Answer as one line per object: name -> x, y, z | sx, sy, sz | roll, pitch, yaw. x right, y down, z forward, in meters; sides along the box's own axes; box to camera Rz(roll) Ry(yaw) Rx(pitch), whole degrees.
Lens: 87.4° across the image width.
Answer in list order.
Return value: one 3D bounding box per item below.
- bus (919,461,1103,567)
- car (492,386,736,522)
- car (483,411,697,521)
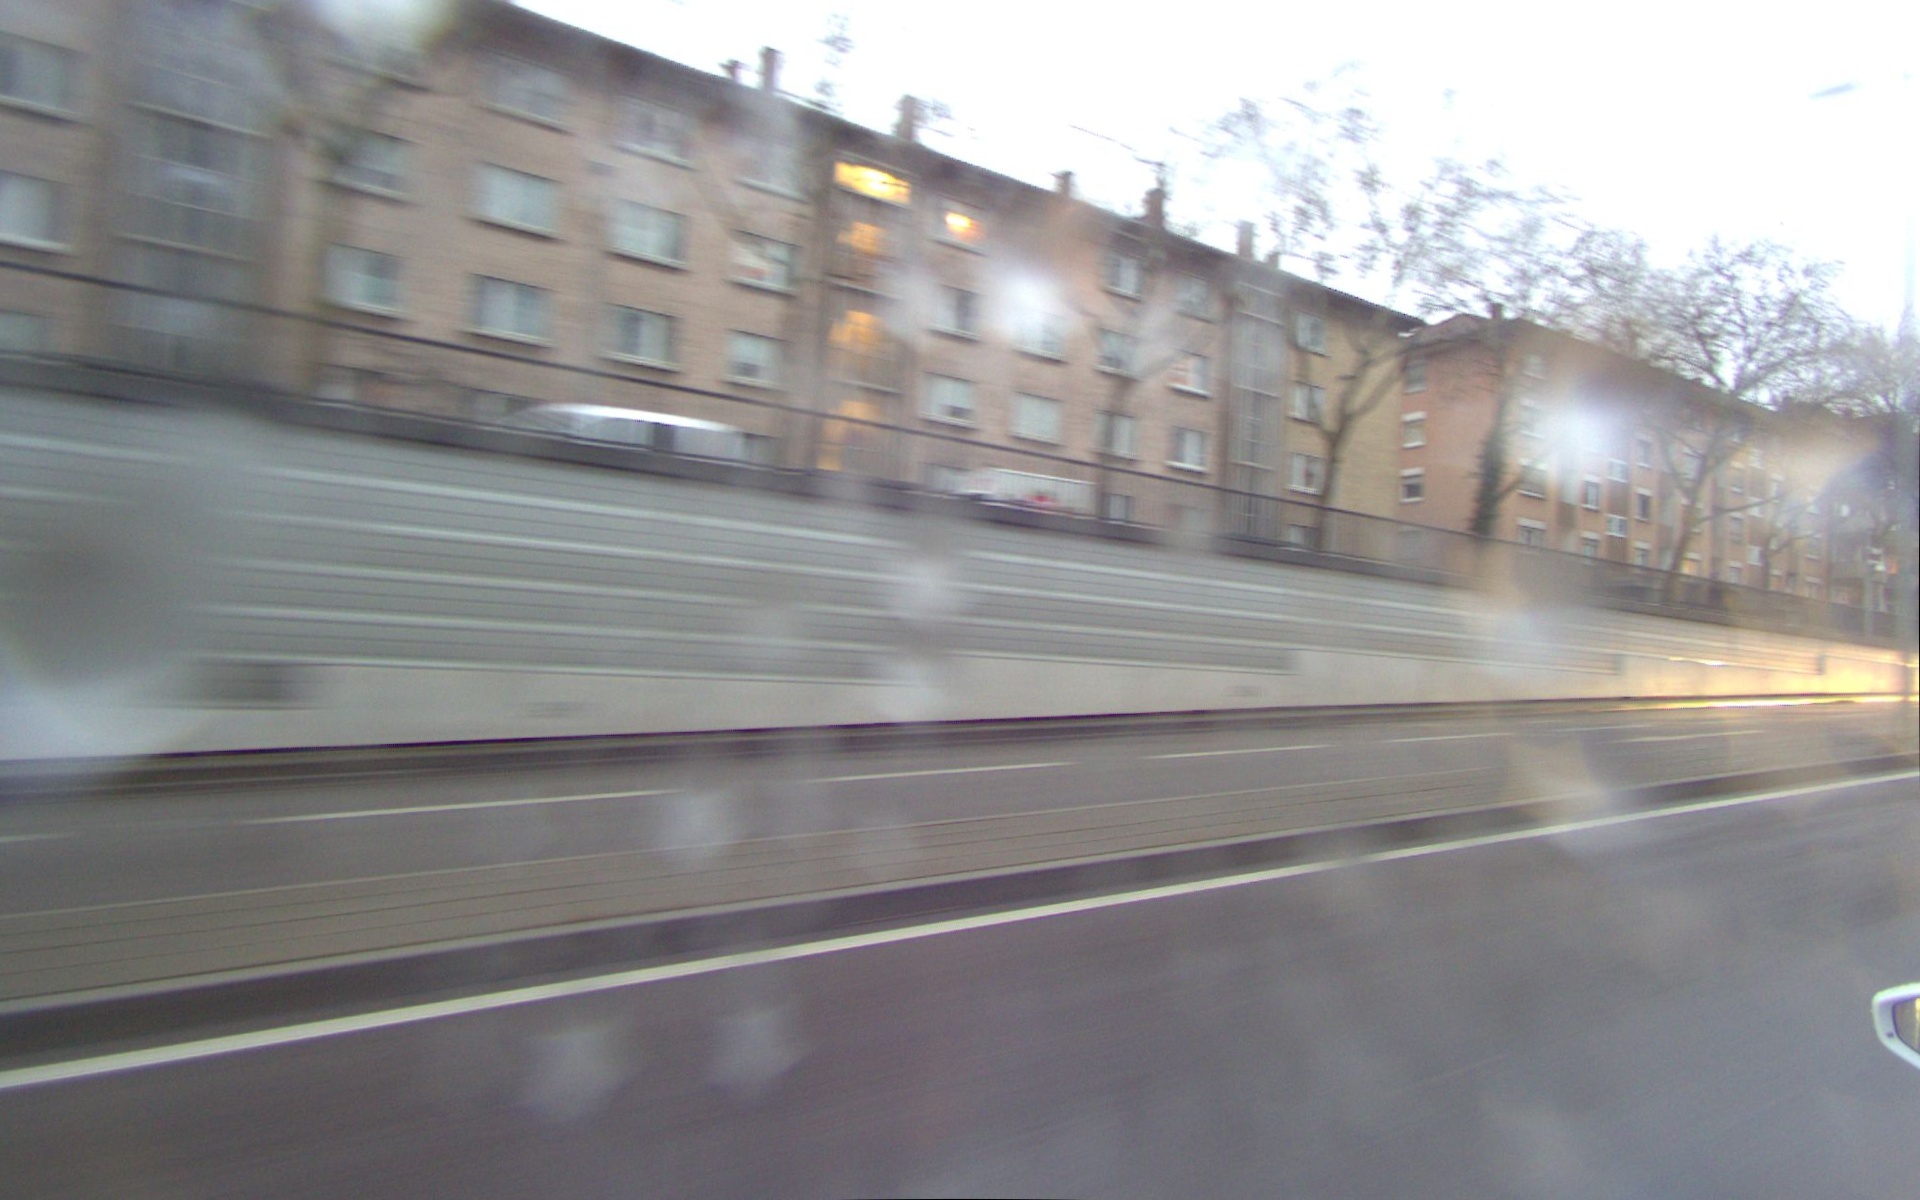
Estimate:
bus -> 1.229, -1.943, 23.692 | 4.015, 1.894, 1.688 | 4, -5, -29
car -> -5.437, -2.199, 15.846 | 3.367, 1.415, 1.558 | 4, -5, -30
car -> -7.500, -2.639, 20.445 | 3.833, 1.491, 1.558 | 4, -5, -30
